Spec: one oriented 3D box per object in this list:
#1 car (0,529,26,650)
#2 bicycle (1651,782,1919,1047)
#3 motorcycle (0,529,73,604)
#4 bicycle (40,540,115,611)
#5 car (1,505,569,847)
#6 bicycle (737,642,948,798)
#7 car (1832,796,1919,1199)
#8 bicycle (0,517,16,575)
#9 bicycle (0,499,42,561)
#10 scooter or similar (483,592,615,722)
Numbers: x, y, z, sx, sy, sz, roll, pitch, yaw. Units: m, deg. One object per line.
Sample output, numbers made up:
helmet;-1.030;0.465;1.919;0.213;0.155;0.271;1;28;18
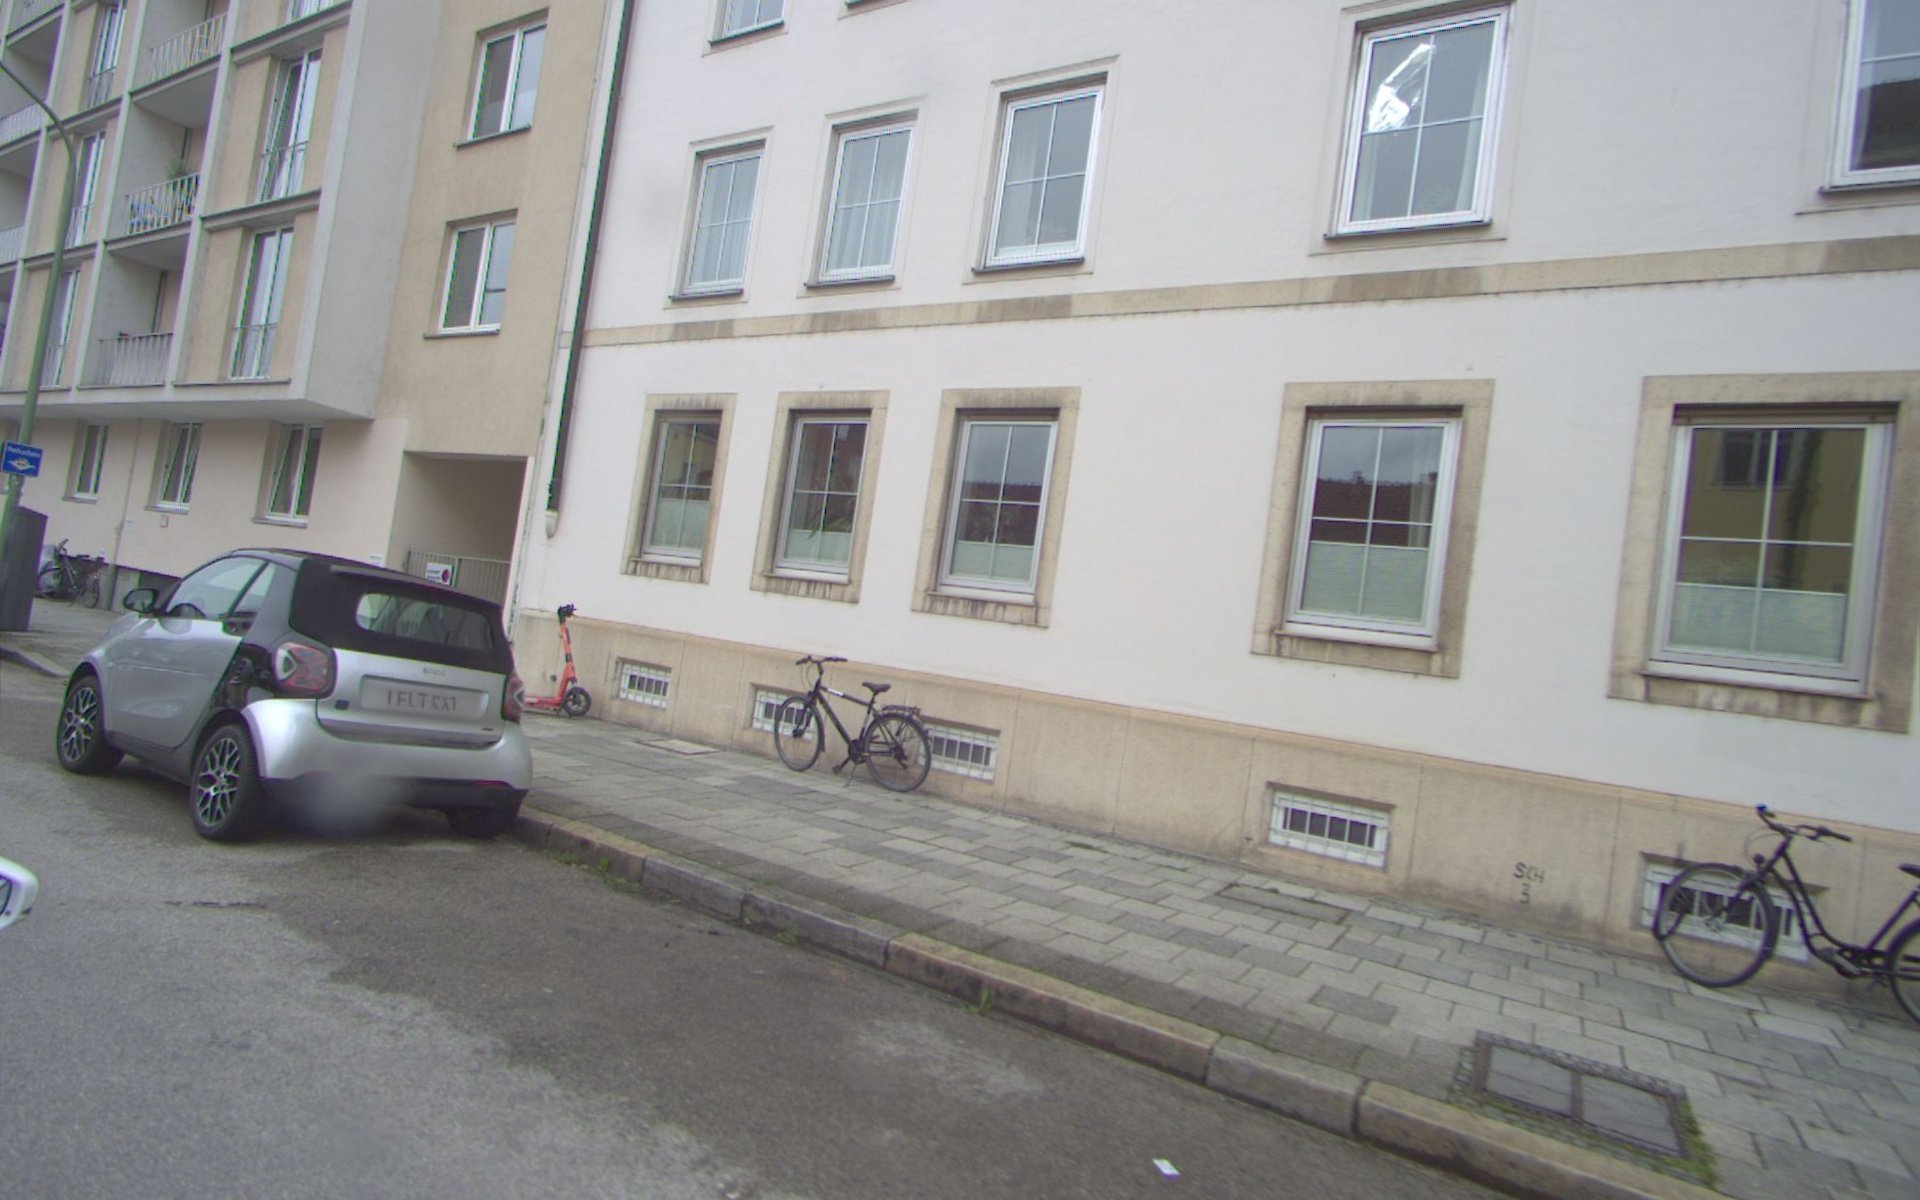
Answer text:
car;-12.996;-0.435;11.726;4.417;1.395;1.834;7;-5;32
bicycle;5.007;1.735;5.382;2.005;1.093;0.598;7;1;30
motorcycle;-18.681;-0.687;20.174;2.007;1.286;0.637;6;-1;30
bicycle;-16.853;-0.472;19.201;1.574;1.170;0.514;6;-1;30
car;-4.399;0.430;6.493;3.324;1.530;1.621;7;-7;32
bicycle;-1.099;1.060;9.230;1.806;1.105;0.630;7;0;31
car;4.028;1.386;0.851;4.620;1.462;1.880;7;-4;30
bicycle;-20.984;-1.201;21.855;1.321;1.217;0.392;6;1;37
bicycle;-19.875;-1.472;20.724;0.386;1.217;1.342;6;0;17
scooter or similar;-4.620;0.645;11.316;1.077;1.289;0.731;7;-2;31
